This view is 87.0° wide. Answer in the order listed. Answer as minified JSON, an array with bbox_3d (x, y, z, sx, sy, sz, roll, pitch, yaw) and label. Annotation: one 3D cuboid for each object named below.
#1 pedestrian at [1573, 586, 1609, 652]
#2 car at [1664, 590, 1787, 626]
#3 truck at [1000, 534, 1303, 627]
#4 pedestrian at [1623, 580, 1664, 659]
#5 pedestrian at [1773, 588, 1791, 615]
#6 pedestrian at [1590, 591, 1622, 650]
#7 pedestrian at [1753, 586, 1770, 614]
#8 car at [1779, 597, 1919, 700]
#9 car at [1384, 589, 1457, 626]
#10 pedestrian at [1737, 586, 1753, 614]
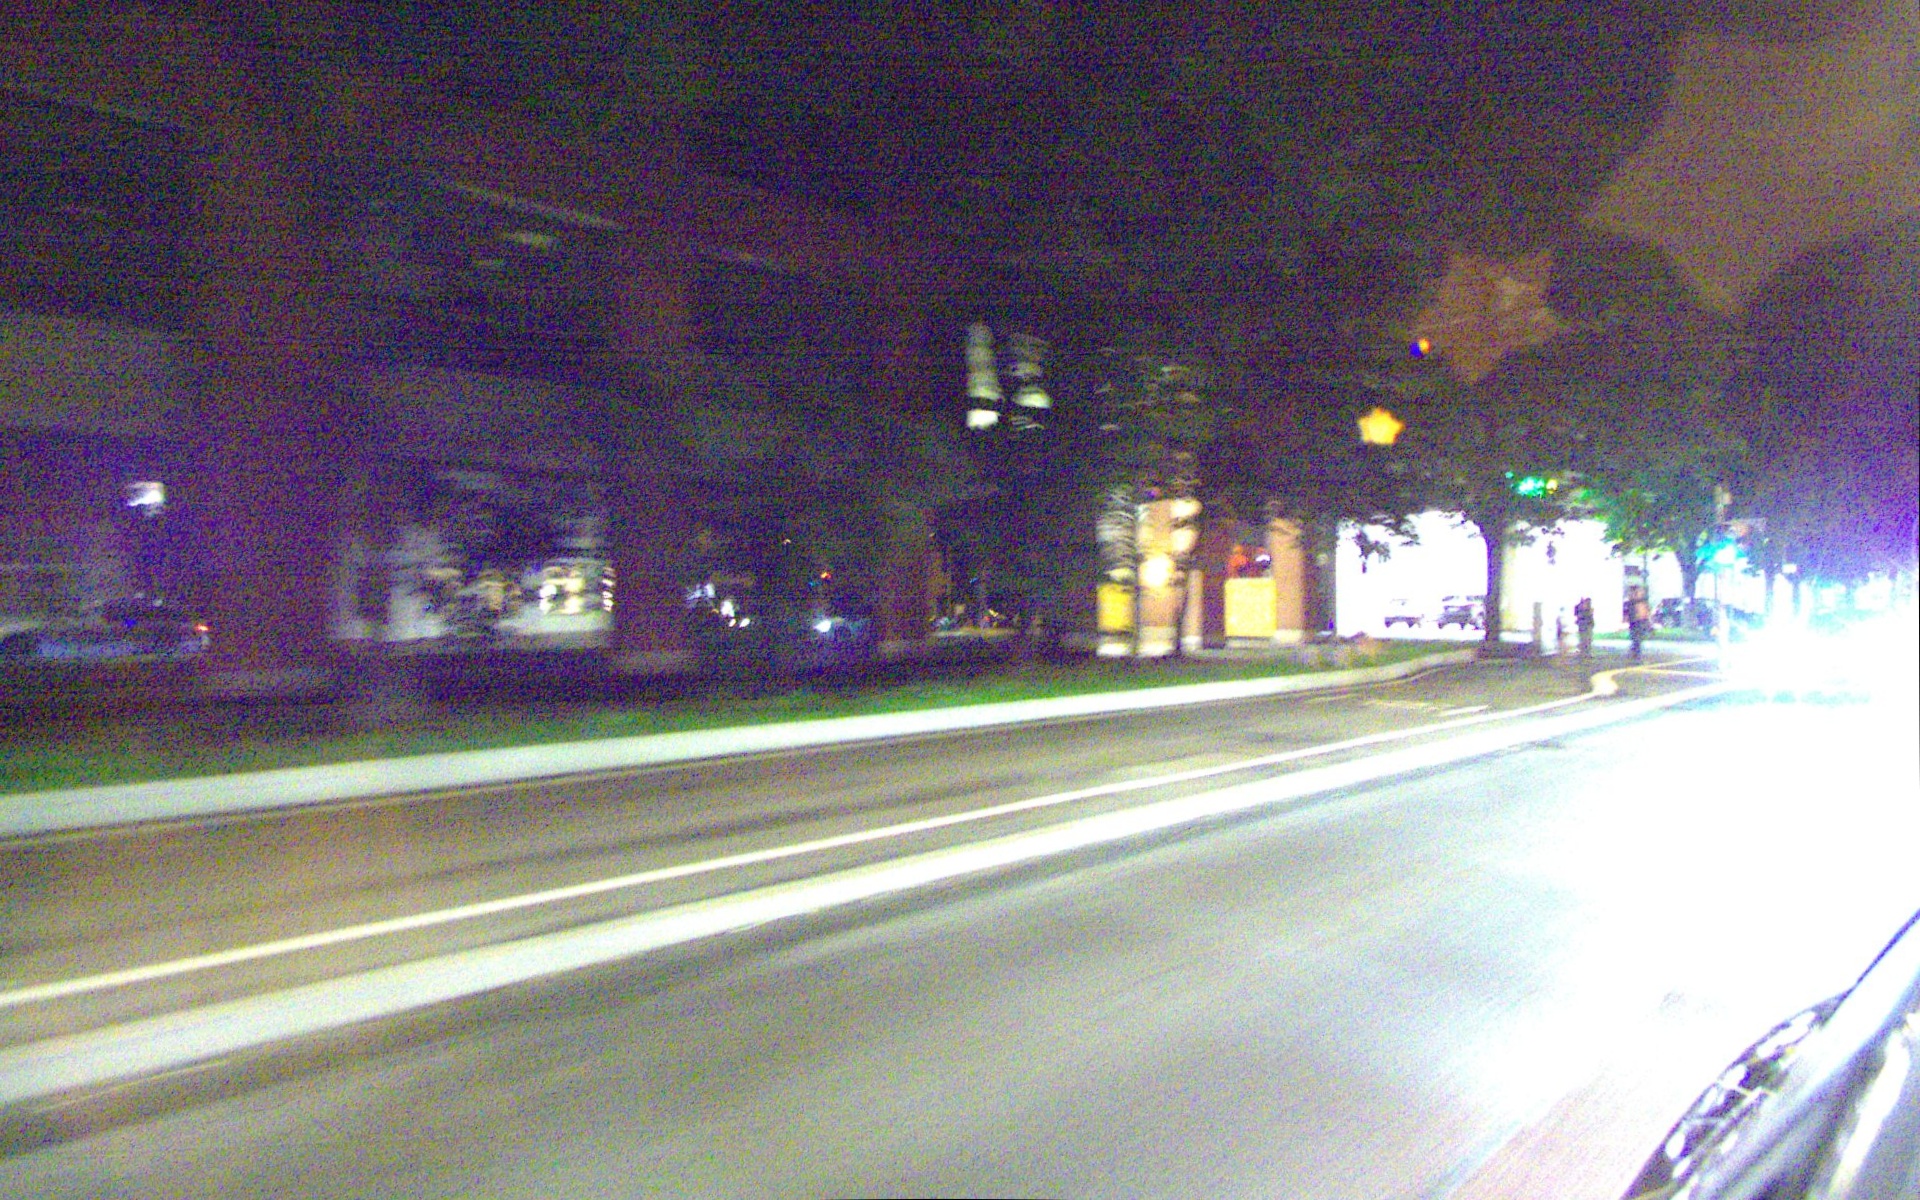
[{"bbox_3d":[16.200,0.481,25.984,0.667,1.659,0.622,0,0,-40],"label":"pedestrian"},{"bbox_3d":[33.659,0.310,44.573,1.756,1.472,4.088,-1,2,-41],"label":"car"},{"bbox_3d":[8.855,-0.994,51.056,3.078,4.033,16.807,-1,2,-41],"label":"truck"},{"bbox_3d":[16.136,0.438,23.891,0.746,1.834,0.623,0,0,-40],"label":"pedestrian"},{"bbox_3d":[53.584,0.067,65.961,0.968,1.738,0.736,0,1,-41],"label":"pedestrian"},{"bbox_3d":[17.208,0.529,26.960,0.622,1.553,0.573,0,0,-40],"label":"pedestrian"},{"bbox_3d":[52.848,0.013,66.728,0.953,1.811,0.720,0,1,-41],"label":"pedestrian"},{"bbox_3d":[14.941,0.700,16.491,4.420,1.448,1.727,-1,0,-41],"label":"car"},{"bbox_3d":[21.495,0.315,47.211,3.933,1.616,1.729,-1,2,-43],"label":"car"},{"bbox_3d":[52.325,0.003,67.427,0.890,1.839,0.675,0,1,-41],"label":"pedestrian"}]
